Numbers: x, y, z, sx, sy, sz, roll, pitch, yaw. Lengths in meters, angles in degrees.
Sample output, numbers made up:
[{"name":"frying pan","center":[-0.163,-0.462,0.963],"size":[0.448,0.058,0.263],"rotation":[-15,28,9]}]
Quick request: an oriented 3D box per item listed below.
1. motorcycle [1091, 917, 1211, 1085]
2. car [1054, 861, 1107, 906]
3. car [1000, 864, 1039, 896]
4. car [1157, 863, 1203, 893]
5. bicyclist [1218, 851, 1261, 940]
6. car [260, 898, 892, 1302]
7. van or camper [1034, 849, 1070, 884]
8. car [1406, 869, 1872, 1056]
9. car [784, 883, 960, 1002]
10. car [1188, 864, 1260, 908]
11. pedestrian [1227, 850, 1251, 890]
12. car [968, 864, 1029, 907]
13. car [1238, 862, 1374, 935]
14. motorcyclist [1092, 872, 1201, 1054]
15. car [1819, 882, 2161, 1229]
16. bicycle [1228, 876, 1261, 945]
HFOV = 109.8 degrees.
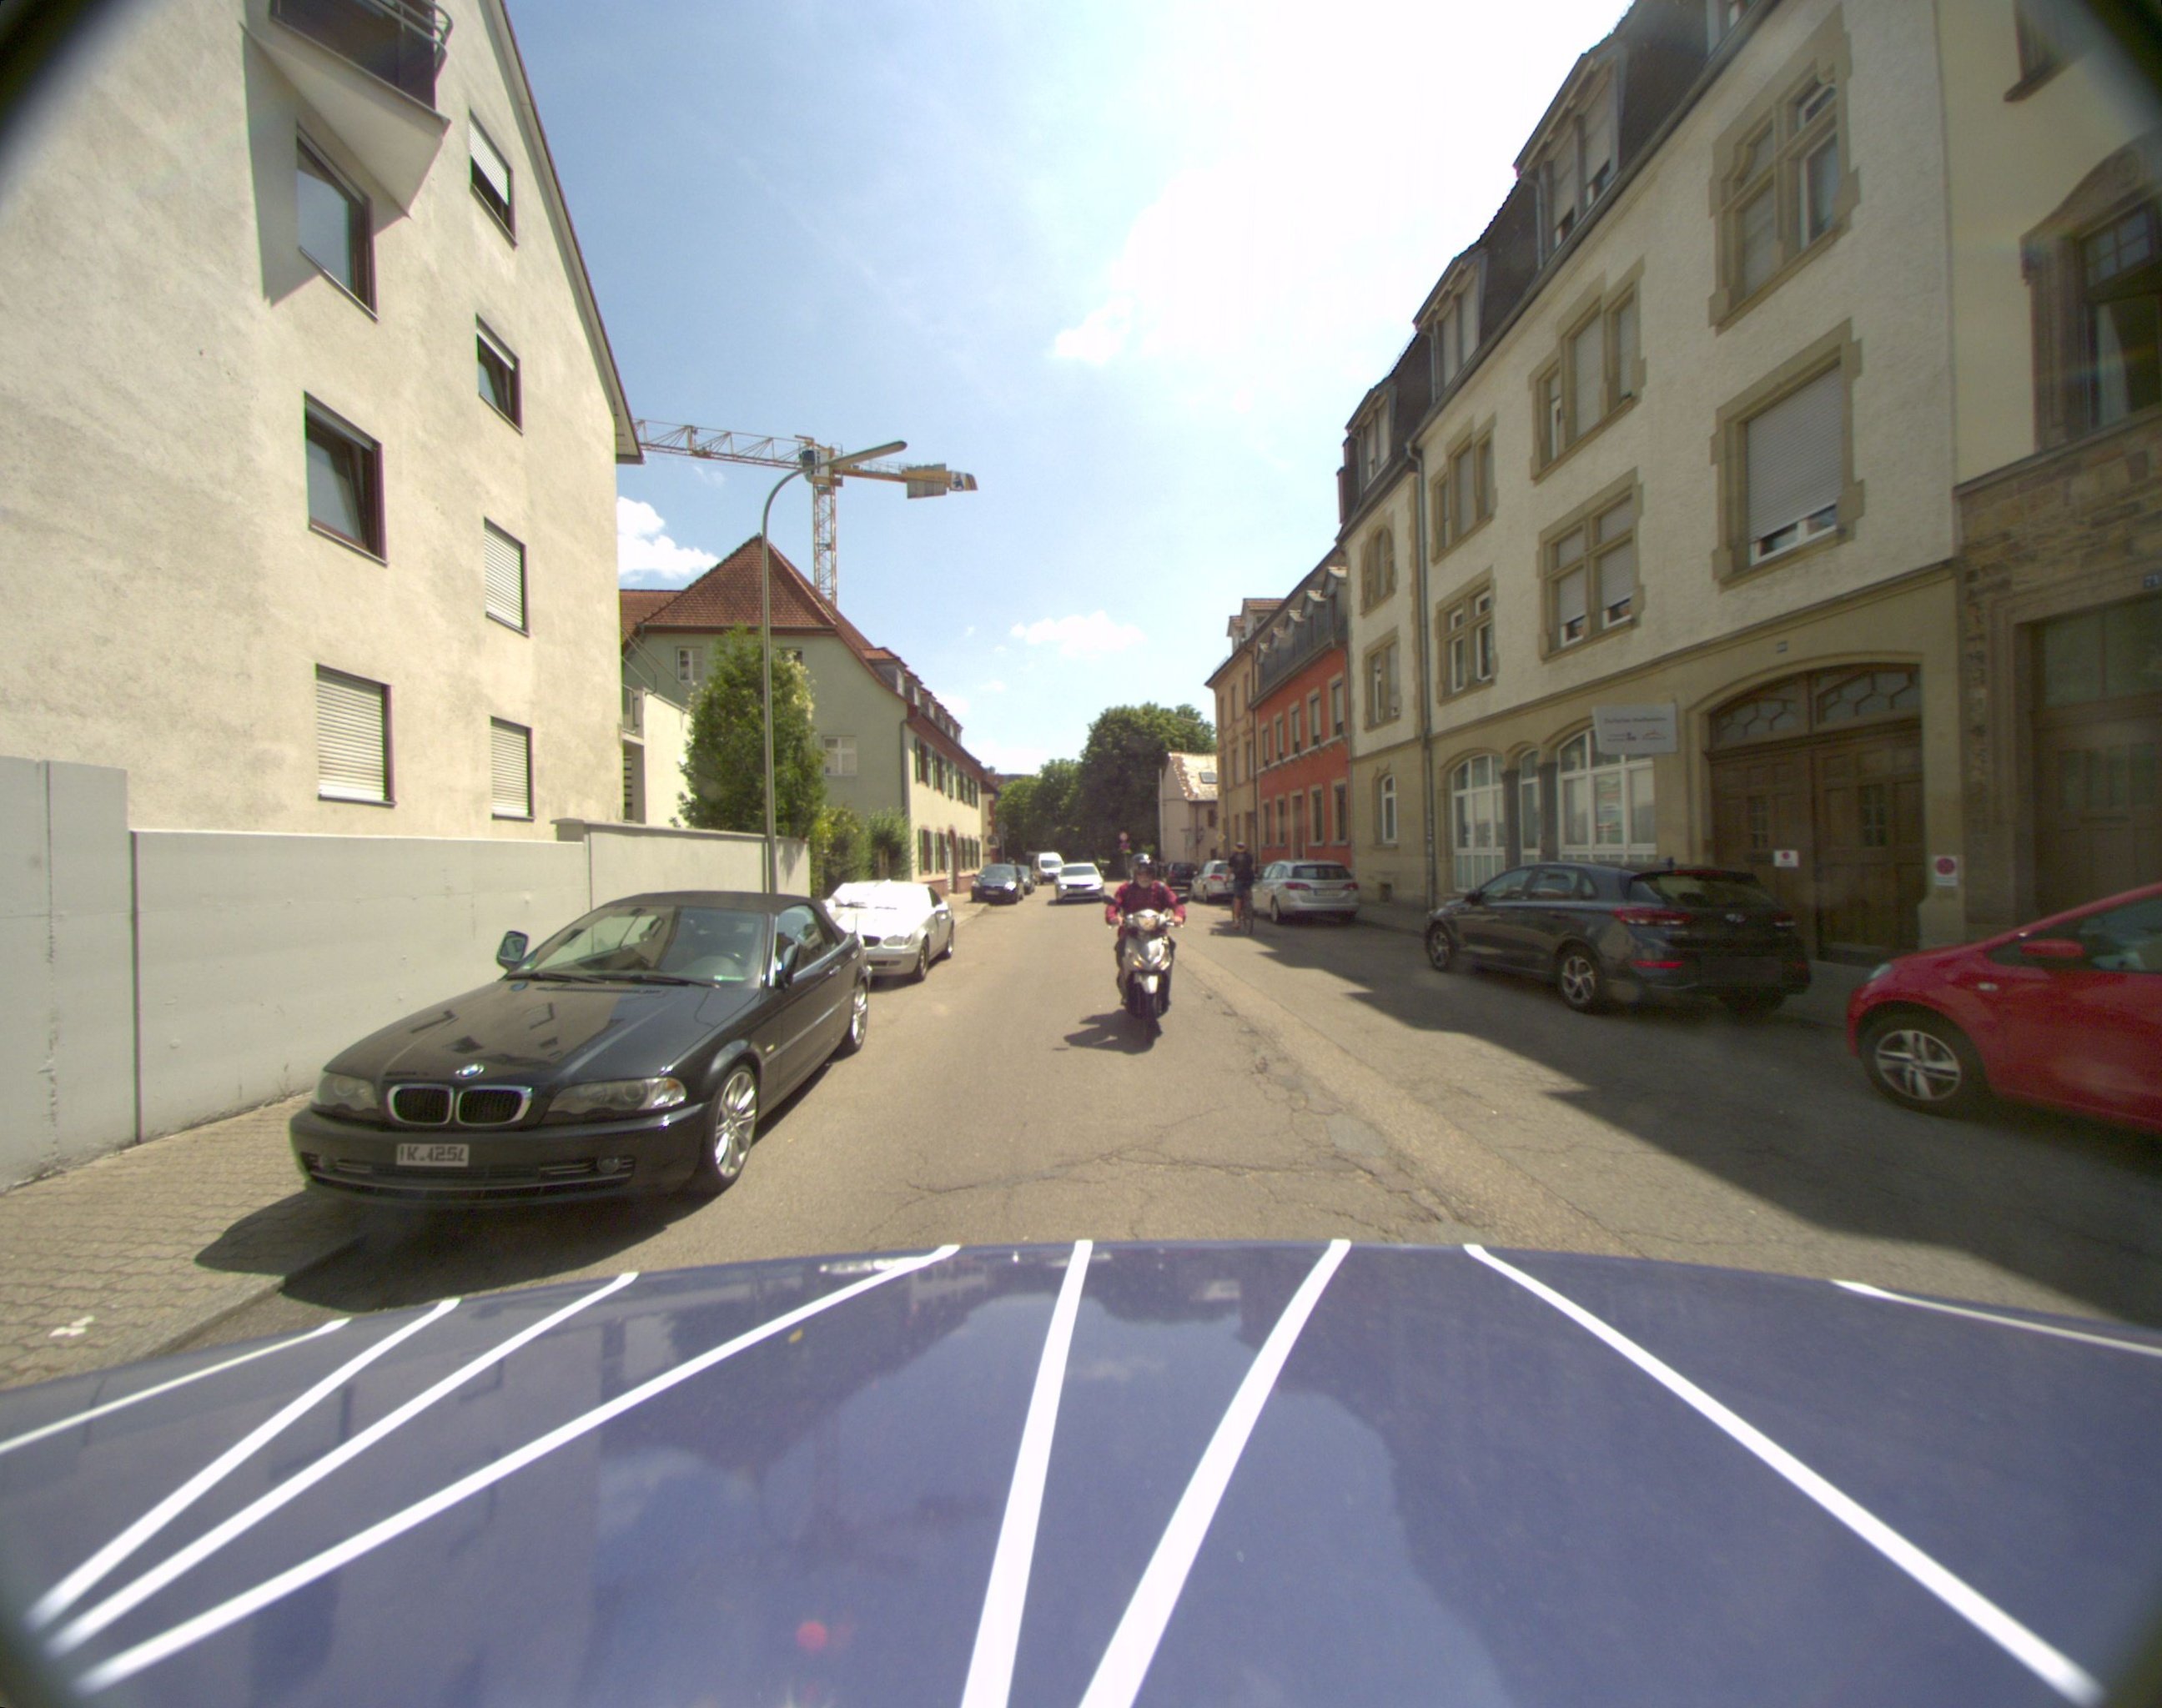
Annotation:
[{"name":"motorcycle","center":[0.532,1.166,6.603],"size":[0.760,1.049,1.991],"rotation":[-3,0,-2]},{"name":"car","center":[-0.090,1.071,28.934],"size":[1.812,1.512,3.999],"rotation":[-2,0,-2]},{"name":"car","center":[-3.163,1.322,39.549],"size":[1.651,1.489,4.000],"rotation":[-1,0,0]},{"name":"car","center":[5.066,1.192,39.379],"size":[1.732,1.433,3.856],"rotation":[-1,0,-2]},{"name":"bicyclist","center":[3.226,0.823,15.556],"size":[0.643,1.752,1.167],"rotation":[0,0,0]},{"name":"car","center":[-2.573,1.118,5.227],"size":[1.661,1.368,4.238],"rotation":[-1,0,-3]},{"name":"van or camper","center":[-2.114,0.874,53.916],"size":[2.000,2.273,5.141],"rotation":[-1,0,-8]},{"name":"car","center":[5.502,0.932,8.352],"size":[1.877,1.430,4.217],"rotation":[-1,0,-3]},{"name":"car","center":[-2.885,1.167,11.296],"size":[1.589,1.345,3.822],"rotation":[0,0,-1]},{"name":"car","center":[5.008,1.077,27.077],"size":[1.715,1.450,3.853],"rotation":[0,0,-2]},{"name":"pedestrian","center":[7.189,0.742,34.590],"size":[0.770,1.760,0.763],"rotation":[-3,0,-2]},{"name":"car","center":[-3.191,1.205,30.135],"size":[1.851,1.506,4.000],"rotation":[-1,0,1]},{"name":"car","center":[5.220,0.961,18.289],"size":[1.883,1.501,4.381],"rotation":[-1,0,-1]},{"name":"motorcyclist","center":[0.542,0.899,6.694],"size":[0.793,1.431,1.020],"rotation":[-3,0,-2]},{"name":"car","center":[5.508,0.900,3.052],"size":[1.603,1.433,3.494],"rotation":[-1,0,-3]},{"name":"bicycle","center":[3.292,1.104,15.438],"size":[0.229,1.268,1.883],"rotation":[1,0,-1]}]
